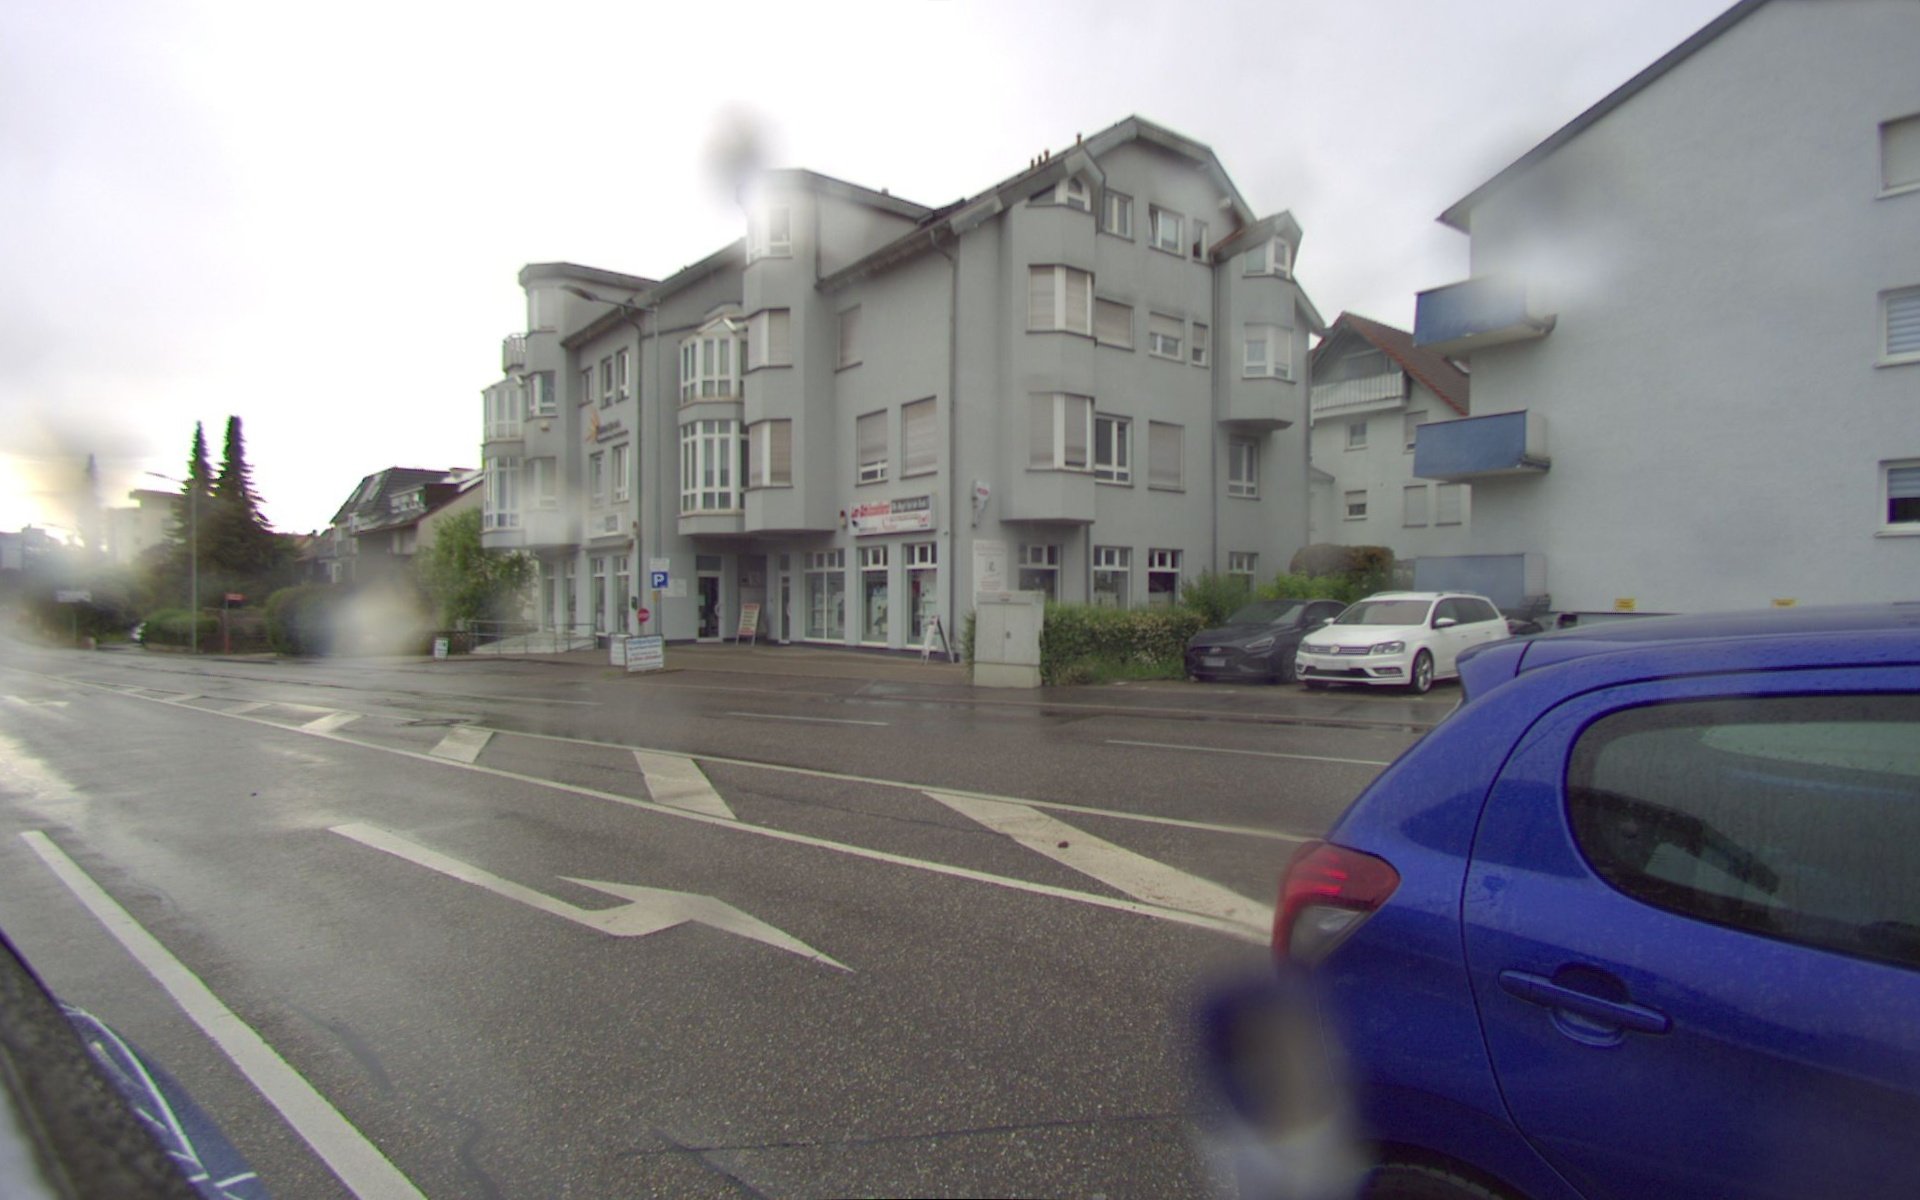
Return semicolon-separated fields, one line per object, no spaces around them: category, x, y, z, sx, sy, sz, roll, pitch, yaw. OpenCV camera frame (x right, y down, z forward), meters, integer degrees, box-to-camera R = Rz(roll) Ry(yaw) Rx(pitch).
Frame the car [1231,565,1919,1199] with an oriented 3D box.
car;2.232;0.642;1.202;3.362;1.423;1.489;-2;-1;41

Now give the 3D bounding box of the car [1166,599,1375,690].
car;5.489;0.690;17.655;1.851;1.366;3.941;-1;0;45

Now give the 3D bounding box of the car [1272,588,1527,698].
car;6.978;0.604;15.811;4.685;1.471;1.883;0;-2;-42

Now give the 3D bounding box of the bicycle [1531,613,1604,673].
bicycle;11.139;0.792;18.567;1.065;1.061;0.343;-2;-1;41
